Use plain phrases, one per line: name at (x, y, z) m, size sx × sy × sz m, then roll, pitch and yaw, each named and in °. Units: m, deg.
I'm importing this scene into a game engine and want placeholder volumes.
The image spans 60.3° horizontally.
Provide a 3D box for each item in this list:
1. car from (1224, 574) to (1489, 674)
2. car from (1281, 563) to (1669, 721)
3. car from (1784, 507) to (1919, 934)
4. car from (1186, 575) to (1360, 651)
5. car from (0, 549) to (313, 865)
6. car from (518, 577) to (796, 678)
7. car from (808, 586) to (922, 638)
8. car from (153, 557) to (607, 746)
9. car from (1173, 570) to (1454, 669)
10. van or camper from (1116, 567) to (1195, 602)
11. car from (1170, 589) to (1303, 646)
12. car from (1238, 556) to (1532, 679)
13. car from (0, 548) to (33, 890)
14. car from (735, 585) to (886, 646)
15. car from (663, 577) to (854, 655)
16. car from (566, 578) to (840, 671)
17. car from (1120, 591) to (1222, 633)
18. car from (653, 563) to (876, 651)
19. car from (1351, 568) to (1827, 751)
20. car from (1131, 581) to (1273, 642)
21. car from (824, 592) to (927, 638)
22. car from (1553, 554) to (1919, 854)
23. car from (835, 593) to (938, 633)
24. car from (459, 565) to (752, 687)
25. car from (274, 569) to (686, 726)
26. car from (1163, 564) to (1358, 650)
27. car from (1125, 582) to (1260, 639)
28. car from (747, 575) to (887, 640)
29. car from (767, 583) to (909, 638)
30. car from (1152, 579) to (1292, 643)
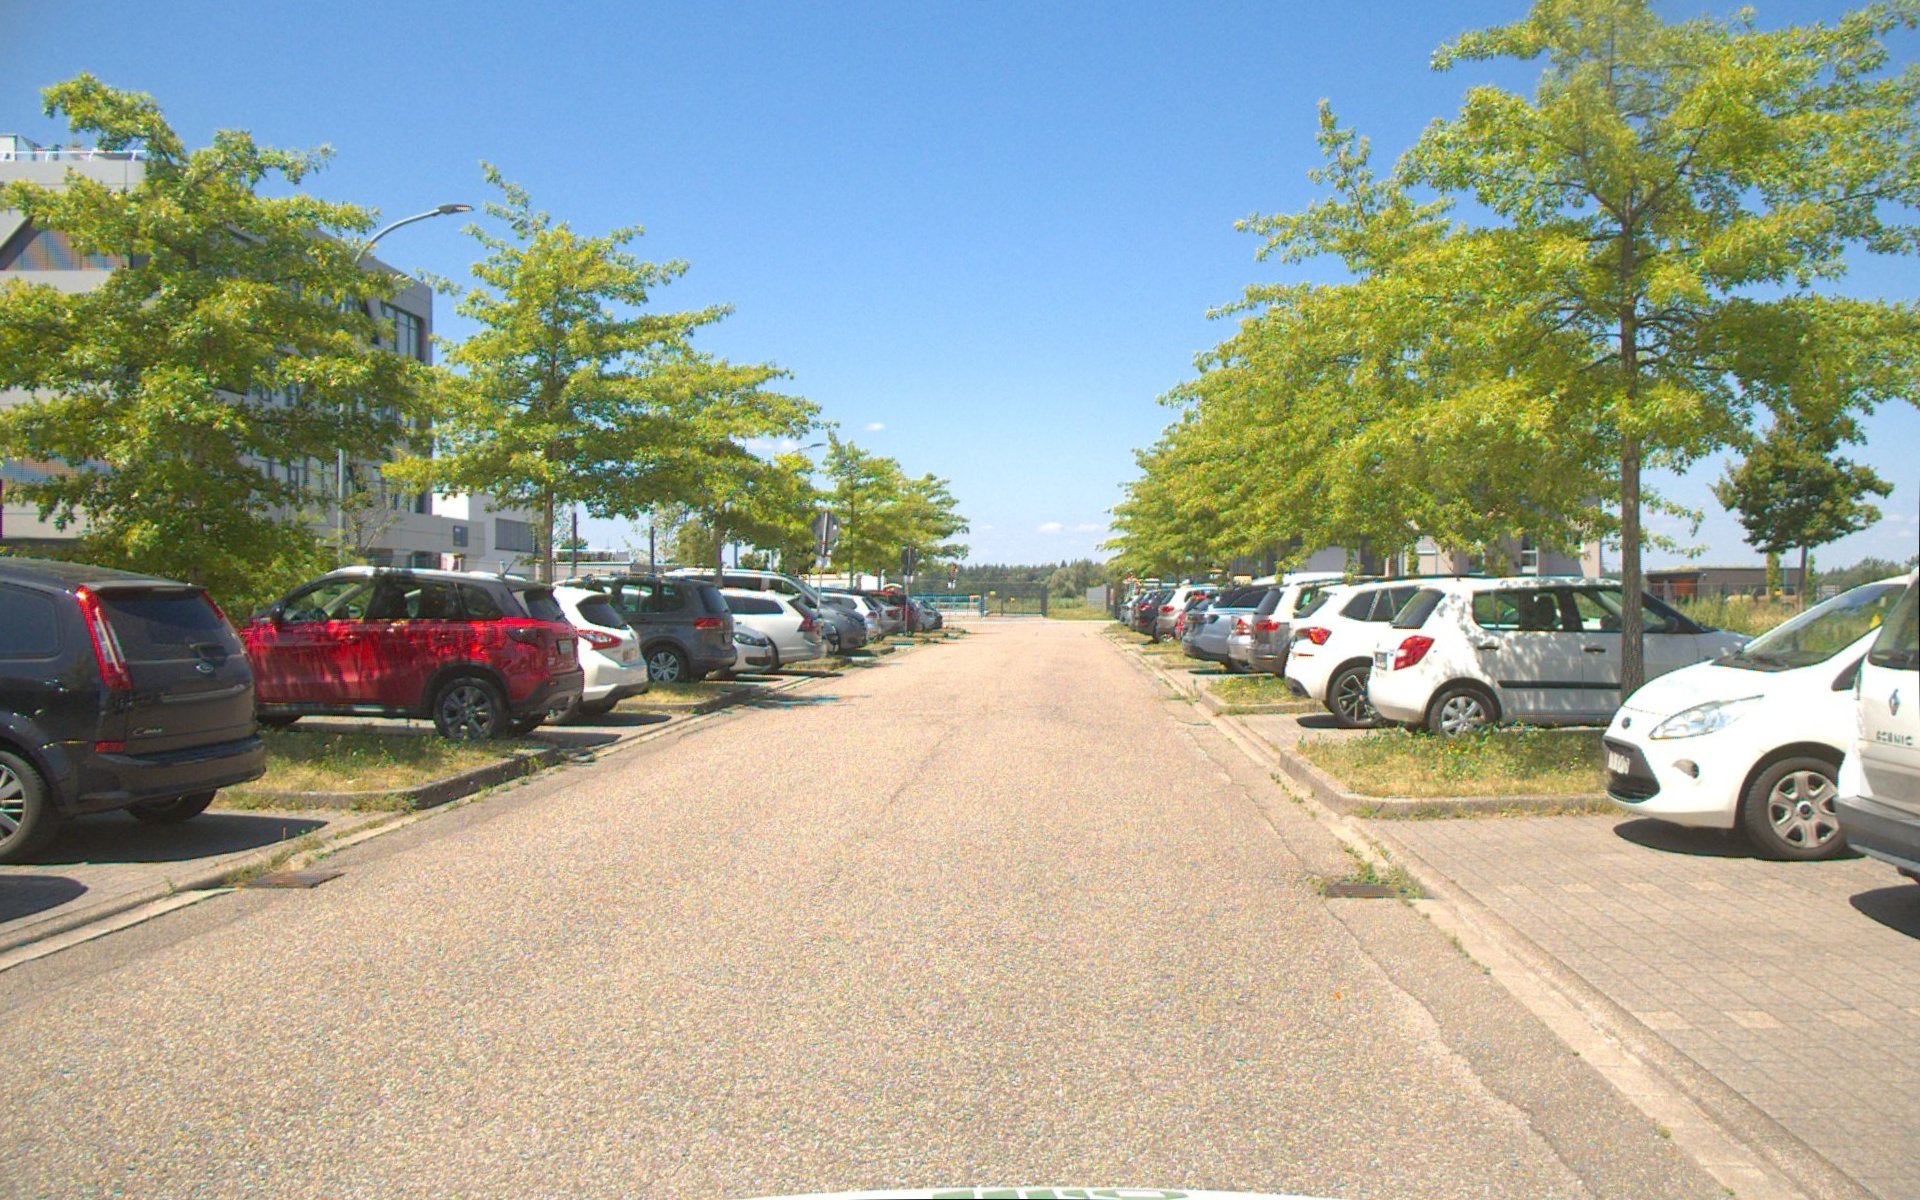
car at (6.428, 0.385, 27.127) m, size 3.962 × 1.478 × 1.646 m, roll -2°, pitch 0°, yaw 4°
car at (5.407, 0.426, 17.804) m, size 3.752 × 1.580 × 1.781 m, roll -1°, pitch 1°, yaw 9°
car at (5.804, 0.377, 6.677) m, size 4.022 × 1.679 × 1.775 m, roll -3°, pitch 0°, yaw 8°
car at (6.838, 0.276, 36.401) m, size 3.555 × 1.529 × 1.677 m, roll -2°, pitch 0°, yaw 4°
car at (-6.013, 0.502, 9.537) m, size 3.825 × 1.619 × 1.728 m, roll 2°, pitch 0°, yaw 3°
car at (-4.964, 0.436, 27.459) m, size 4.222 × 1.499 × 1.728 m, roll 2°, pitch 0°, yaw 1°
car at (-3.232, 0.394, 56.898) m, size 3.659 × 1.650 × 1.817 m, roll 2°, pitch 0°, yaw 4°
car at (-5.543, 0.468, 16.131) m, size 3.759 × 1.619 × 1.728 m, roll 2°, pitch 0°, yaw 1°
car at (6.286, 0.341, 29.766) m, size 4.620 × 1.588 × 1.913 m, roll -2°, pitch 0°, yaw -1°
van or camper at (12.276, -0.983, 104.161) m, size 4.833 × 2.201 × 2.001 m, roll 0°, pitch 1°, yaw 2°
car at (7.550, 0.464, 45.365) m, size 3.385 × 1.442 × 1.755 m, roll -2°, pitch 0°, yaw 3°
car at (6.243, 0.255, 24.617) m, size 3.962 × 1.653 × 1.694 m, roll -2°, pitch 0°, yaw 4°
car at (-6.419, 0.513, 7.126) m, size 3.760 × 1.621 × 1.829 m, roll 2°, pitch 0°, yaw 0°
car at (-4.079, 0.418, 45.494) m, size 3.954 × 1.486 × 1.604 m, roll 2°, pitch 0°, yaw 0°
car at (-4.419, 0.341, 36.597) m, size 3.886 × 1.510 × 1.764 m, roll 2°, pitch 0°, yaw 3°
car at (-4.566, 0.424, 29.873) m, size 4.616 × 1.472 × 1.857 m, roll 2°, pitch 0°, yaw 0°
car at (9.028, 0.508, 70.976) m, size 4.189 × 1.673 × 1.851 m, roll -2°, pitch 0°, yaw 3°
car at (-4.622, 0.146, 39.553) m, size 4.963 × 1.925 × 1.998 m, roll 1°, pitch 0°, yaw 5°
car at (5.693, 0.522, 15.342) m, size 3.754 × 1.551 × 1.780 m, roll -1°, pitch 0°, yaw 3°
car at (7.314, 0.347, 50.320) m, size 4.086 × 1.726 × 1.783 m, roll -2°, pitch 0°, yaw 2°
car at (-2.996, 0.533, 59.504) m, size 3.582 × 1.535 × 1.731 m, roll 2°, pitch 0°, yaw -1°
car at (5.476, 0.488, 9.452) m, size 3.545 × 1.488 × 1.610 m, roll -3°, pitch 0°, yaw -1°
car at (-2.917, 0.519, 66.426) m, size 3.992 × 1.449 × 1.873 m, roll 2°, pitch 0°, yaw -1°
car at (-5.346, 0.377, 25.267) m, size 4.032 × 1.663 × 1.728 m, roll 2°, pitch 0°, yaw 2°
car at (-5.370, 0.493, 18.818) m, size 4.084 × 1.539 × 1.808 m, roll 2°, pitch 1°, yaw 5°
car at (7.004, 0.170, 38.891) m, size 4.310 × 1.862 × 1.796 m, roll -2°, pitch 0°, yaw 4°
car at (7.922, 0.347, 56.609) m, size 4.357 × 1.799 × 1.993 m, roll -2°, pitch 0°, yaw 1°
car at (-4.136, 0.213, 48.340) m, size 3.906 × 1.708 × 1.776 m, roll 2°, pitch 0°, yaw -2°
car at (-3.703, 0.323, 50.634) m, size 4.105 × 1.506 × 1.713 m, roll 2°, pitch 0°, yaw 4°
car at (7.507, 0.309, 47.597) m, size 3.794 × 1.707 × 1.783 m, roll -2°, pitch 0°, yaw 3°
